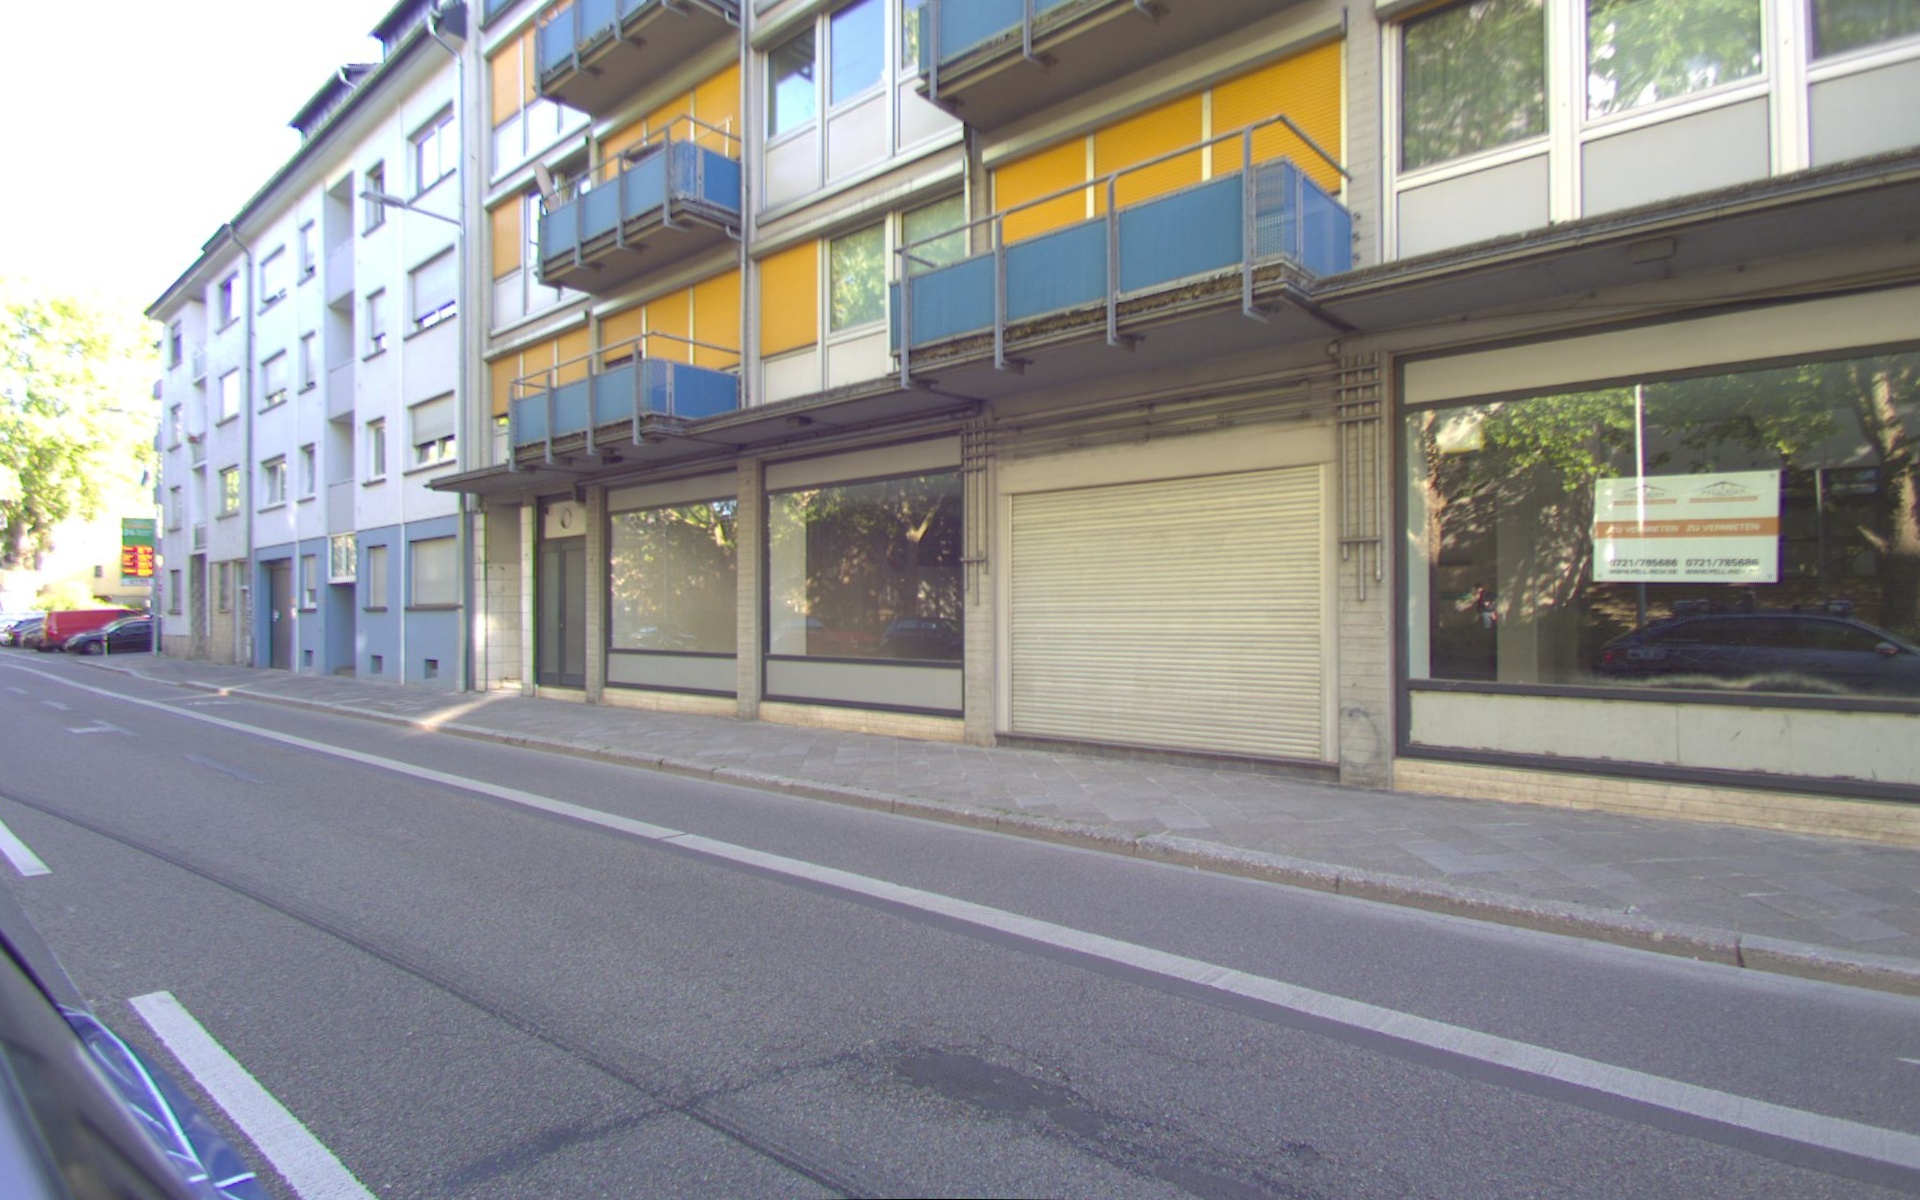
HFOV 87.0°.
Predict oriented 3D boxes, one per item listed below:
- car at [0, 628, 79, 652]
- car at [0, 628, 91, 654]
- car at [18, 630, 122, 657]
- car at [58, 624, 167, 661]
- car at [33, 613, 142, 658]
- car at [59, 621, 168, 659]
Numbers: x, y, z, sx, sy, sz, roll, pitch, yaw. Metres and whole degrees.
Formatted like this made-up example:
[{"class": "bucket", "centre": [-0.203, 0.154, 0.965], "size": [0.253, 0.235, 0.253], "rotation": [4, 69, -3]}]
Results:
[{"class": "car", "centre": [-52.254, 2.249, 57.502], "size": [1.345, 1.254, 3.228], "rotation": [-1, 0, 43]}, {"class": "car", "centre": [-50.440, 2.241, 55.873], "size": [1.345, 1.254, 3.638], "rotation": [-1, 0, 43]}, {"class": "car", "centre": [-42.809, 2.072, 48.735], "size": [1.345, 1.137, 3.638], "rotation": [-1, 0, 43]}, {"class": "car", "centre": [-36.671, 1.809, 43.841], "size": [1.490, 1.398, 3.462], "rotation": [-1, 0, 43]}, {"class": "car", "centre": [-40.647, 1.647, 47.221], "size": [1.488, 1.923, 3.642], "rotation": [-4, -2, 39]}, {"class": "car", "centre": [-38.188, 1.767, 45.721], "size": [1.490, 1.523, 3.638], "rotation": [-1, 0, 43]}]
